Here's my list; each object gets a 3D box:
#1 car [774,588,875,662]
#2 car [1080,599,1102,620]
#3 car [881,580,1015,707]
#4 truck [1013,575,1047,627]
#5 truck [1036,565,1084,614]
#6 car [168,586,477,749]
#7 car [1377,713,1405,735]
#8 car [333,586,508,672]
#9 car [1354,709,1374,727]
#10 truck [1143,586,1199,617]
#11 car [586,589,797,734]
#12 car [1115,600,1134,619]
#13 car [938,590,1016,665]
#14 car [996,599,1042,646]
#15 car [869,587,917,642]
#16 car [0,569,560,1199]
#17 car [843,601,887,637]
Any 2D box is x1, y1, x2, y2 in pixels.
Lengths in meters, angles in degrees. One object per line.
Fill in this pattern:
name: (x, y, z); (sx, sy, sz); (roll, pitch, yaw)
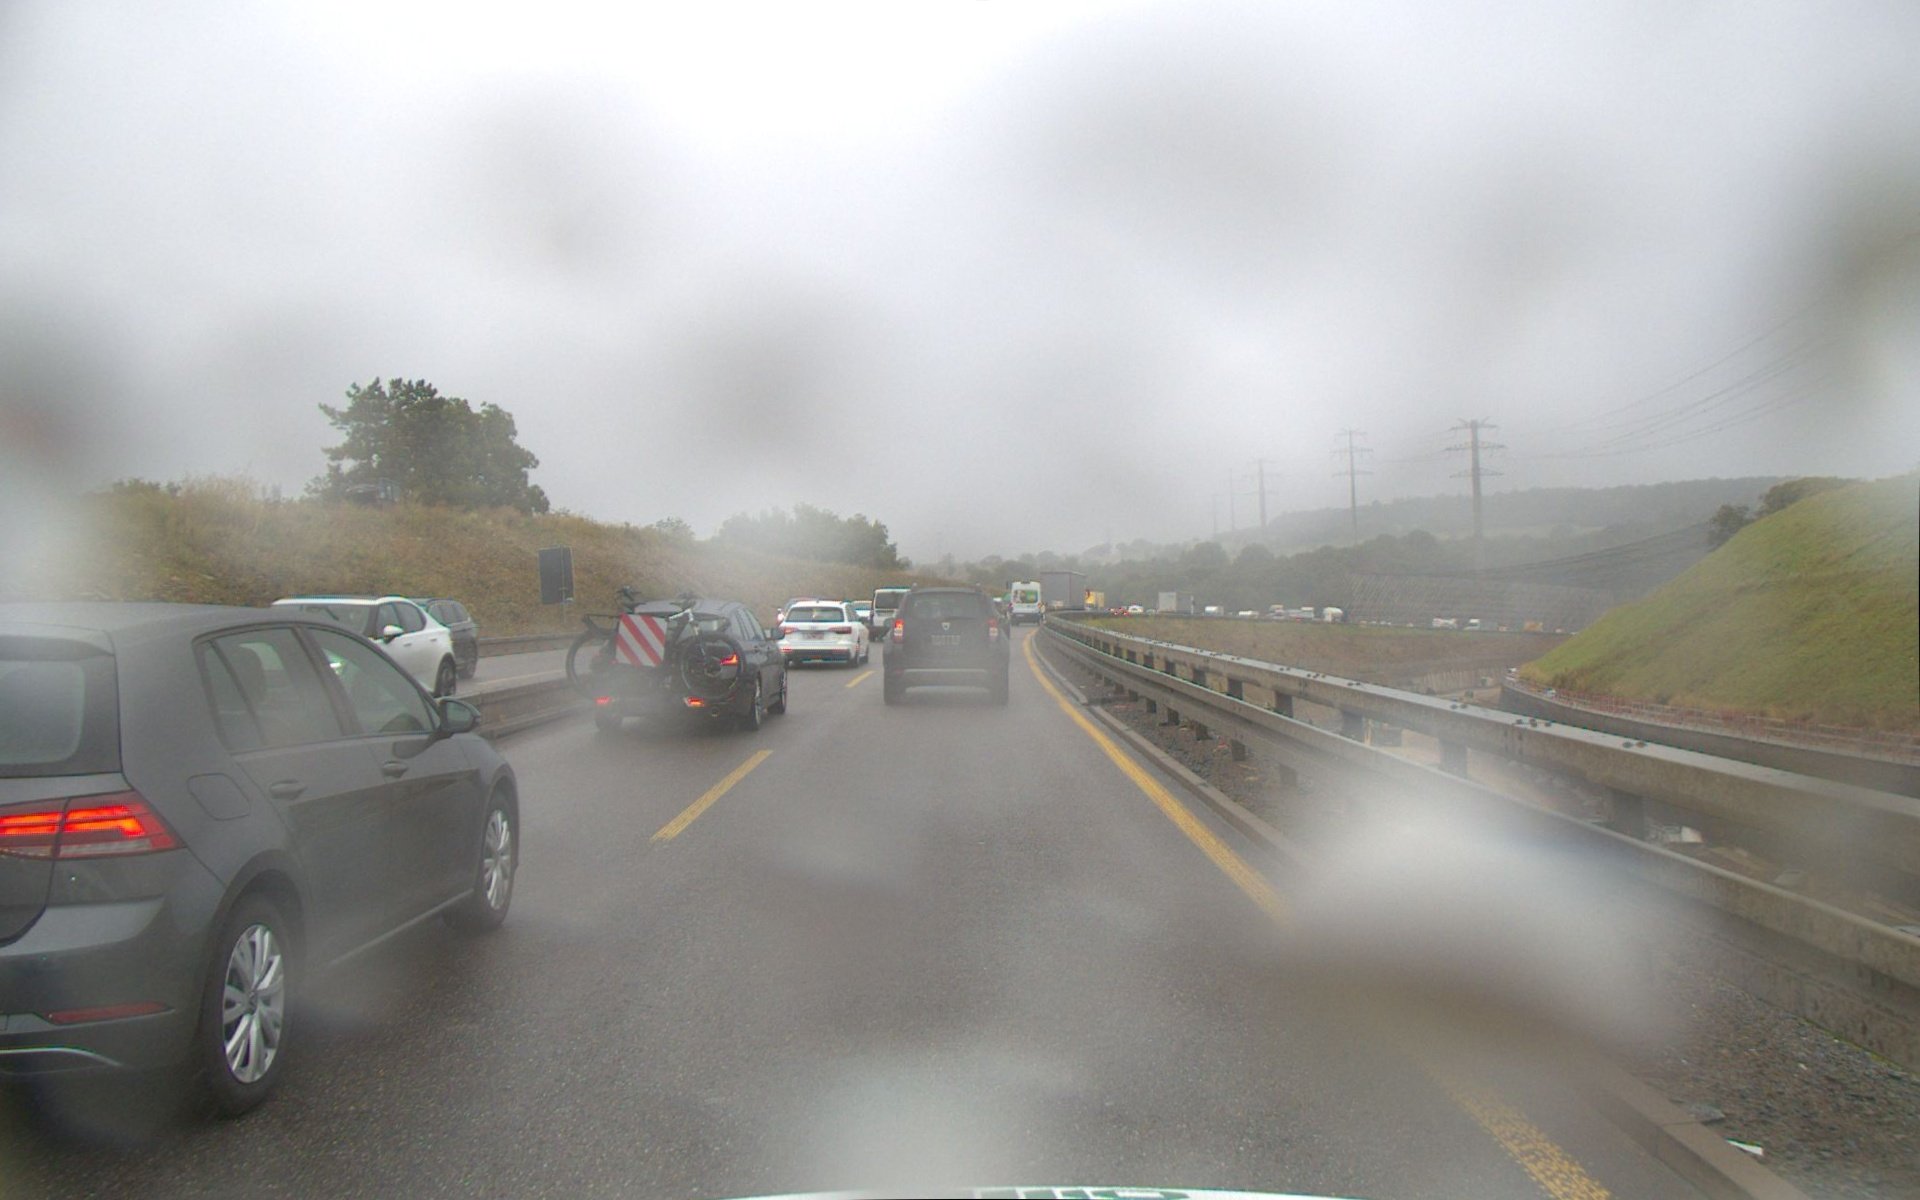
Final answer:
car: (-2.925, 0.517, 36.504); (1.829, 1.486, 4.548); (1, 0, 0)
car: (12.123, 0.878, 152.765); (1.737, 1.949, 4.003); (1, 0, 9)
car: (-0.127, 0.586, 23.812); (1.767, 1.675, 3.776); (0, 0, 1)
truck: (4.558, 0.059, 108.268); (2.105, 3.221, 6.460); (1, 0, 1)
truck: (8.273, -0.831, 135.511); (3.132, 3.827, 8.516); (1, 0, 8)
car: (-6.998, 0.658, 18.689); (1.839, 1.526, 4.335); (1, 1, -1)
car: (46.750, 13.435, 179.370); (2.315, 2.049, 4.003); (1, 0, 6)
car: (-9.904, 0.490, 30.742); (1.732, 1.469, 4.671); (0, 0, 0)
car: (47.958, 13.958, 196.430); (1.951, 1.847, 4.003); (0, -1, 8)
truck: (30.319, 0.214, 236.742); (4.620, 4.222, 15.685); (1, 0, 20)
car: (-2.980, 0.649, 19.095); (1.791, 1.502, 3.776); (0, 0, 0)
car: (17.314, 1.008, 174.160); (1.737, 1.949, 4.003); (1, 0, 9)
car: (0.394, 0.655, 41.358); (1.829, 1.738, 4.000); (1, 0, -1)
car: (2.184, 0.818, 62.132); (1.499, 1.669, 4.012); (1, 0, -1)
car: (-2.405, 0.511, 59.693); (1.626, 1.913, 4.018); (1, 0, -1)
car: (-2.721, 0.725, 5.780); (1.581, 1.532, 4.367); (-1, 0, -1)
car: (-4.562, 0.898, 79.055); (2.005, 1.661, 4.985); (0, 0, -4)
